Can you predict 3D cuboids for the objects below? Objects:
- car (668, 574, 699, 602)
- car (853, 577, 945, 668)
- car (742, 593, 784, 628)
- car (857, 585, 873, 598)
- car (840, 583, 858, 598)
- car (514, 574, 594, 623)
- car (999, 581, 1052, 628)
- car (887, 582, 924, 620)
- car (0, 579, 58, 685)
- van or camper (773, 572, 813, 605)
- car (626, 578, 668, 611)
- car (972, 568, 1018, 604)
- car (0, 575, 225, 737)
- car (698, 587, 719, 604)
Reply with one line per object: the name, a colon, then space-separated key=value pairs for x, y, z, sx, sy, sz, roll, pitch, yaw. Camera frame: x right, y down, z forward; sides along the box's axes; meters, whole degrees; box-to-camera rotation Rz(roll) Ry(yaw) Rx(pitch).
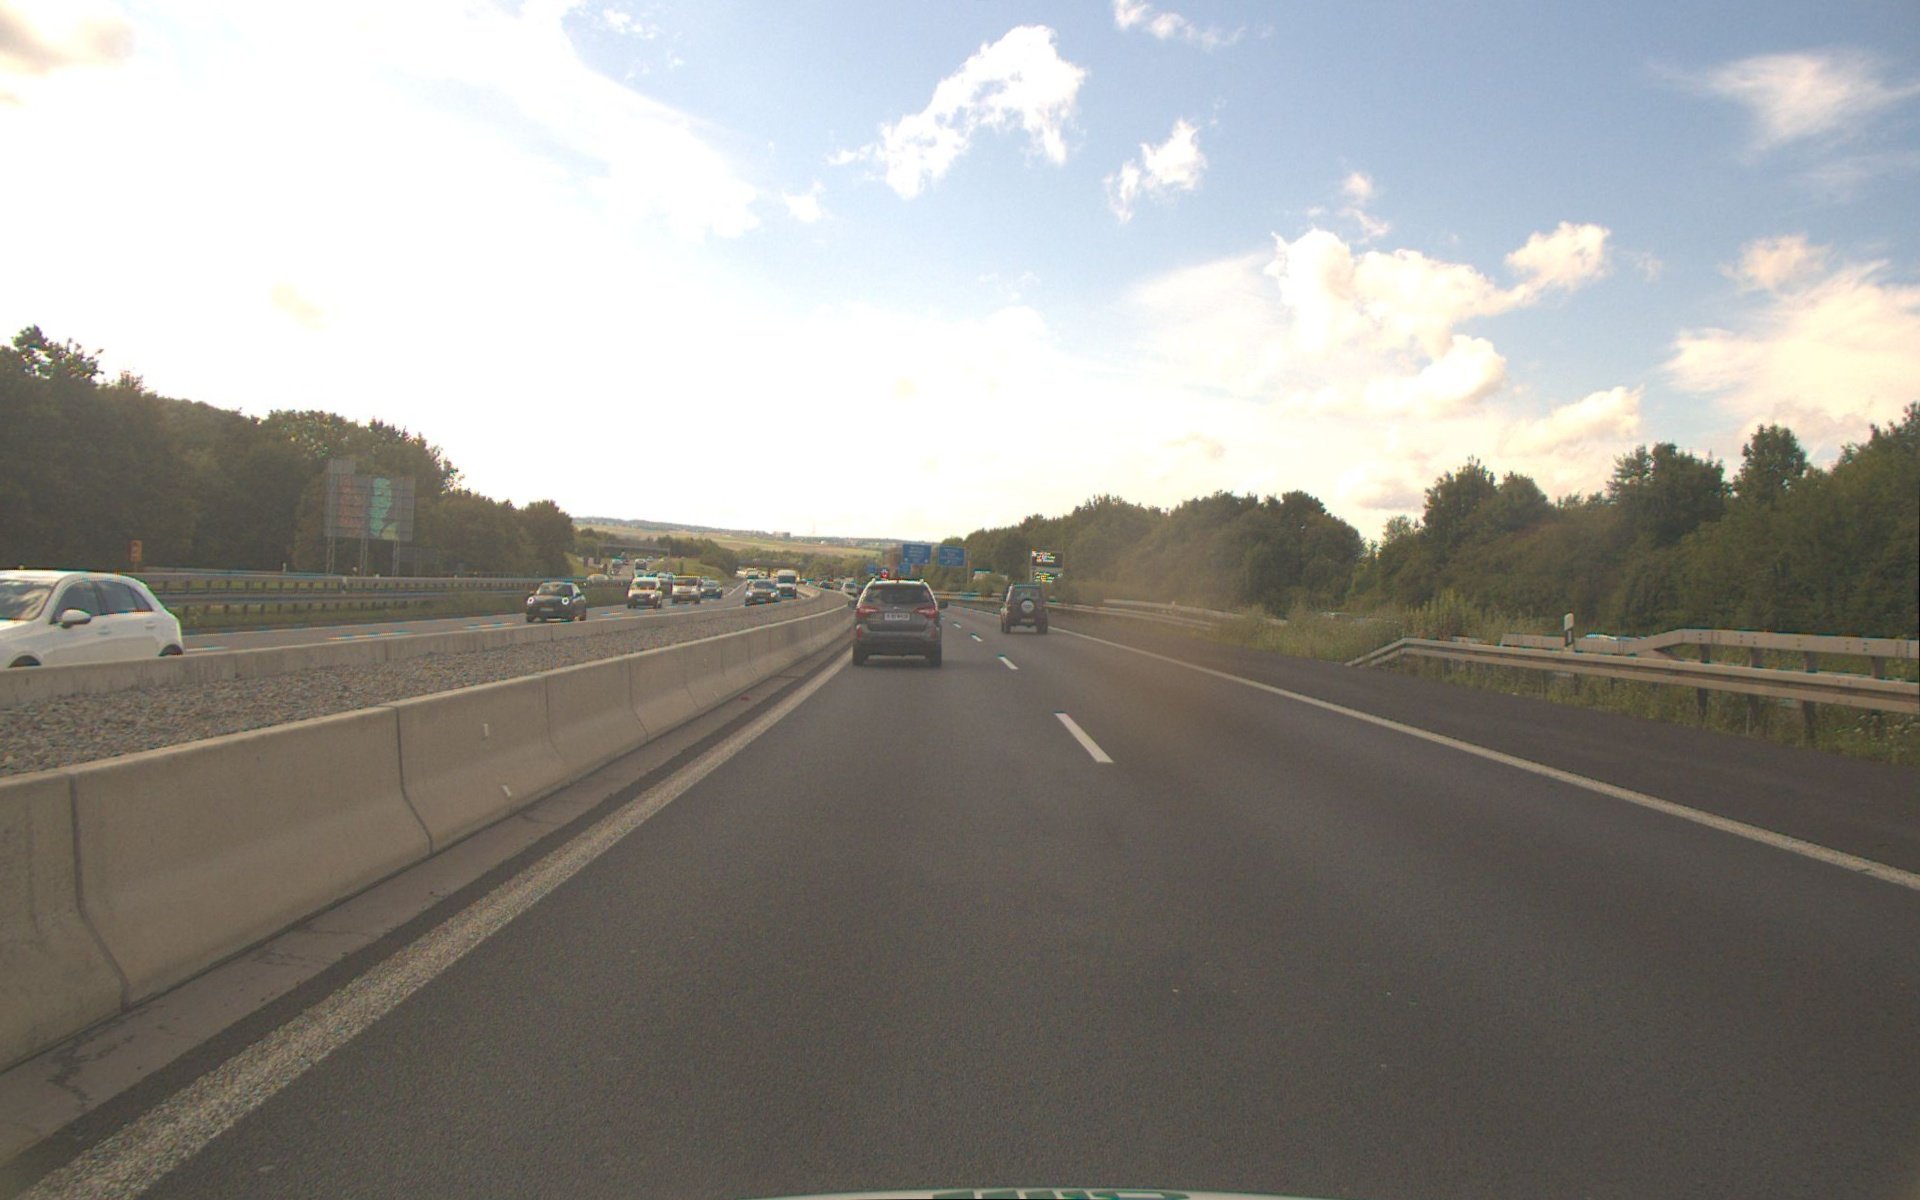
car: x=-19.937 y=-0.850 z=119.374 sx=1.877 sy=1.939 sz=5.280 roll=0 pitch=0 yaw=-6
car: x=-1.288 y=0.463 z=35.171 sx=1.781 sy=1.766 sz=5.184 roll=1 pitch=0 yaw=-2
car: x=-11.767 y=0.618 z=99.213 sx=1.953 sy=1.953 sz=5.147 roll=2 pitch=0 yaw=-1
car: x=-14.646 y=-1.297 z=254.805 sx=1.957 sy=1.963 sz=3.990 roll=2 pitch=-1 yaw=-10
car: x=-13.863 y=-1.229 z=206.378 sx=1.956 sy=1.713 sz=3.993 roll=1 pitch=-1 yaw=-8
car: x=-15.116 y=-0.053 z=61.766 sx=1.953 sy=1.721 sz=4.372 roll=1 pitch=0 yaw=-1
car: x=2.361 y=0.130 z=60.451 sx=1.555 sy=1.625 sz=4.093 roll=1 pitch=0 yaw=-3
car: x=-3.220 y=0.051 z=98.273 sx=1.989 sy=2.189 sz=4.000 roll=1 pitch=0 yaw=0
car: x=-13.271 y=0.396 z=20.552 sx=1.830 sy=1.361 sz=4.228 roll=1 pitch=0 yaw=-1
van or camper: x=-15.582 y=-1.058 z=155.022 sx=3.268 sy=2.967 sz=7.462 roll=1 pitch=0 yaw=-2
car: x=-18.473 y=-0.318 z=97.797 sx=1.954 sy=1.846 sz=4.237 roll=1 pitch=0 yaw=-4
car: x=4.572 y=-1.744 z=219.376 sx=4.637 sy=4.341 sz=11.389 roll=1 pitch=-1 yaw=-5
car: x=-9.076 y=0.445 z=15.412 sx=2.004 sy=1.361 sz=5.607 roll=1 pitch=0 yaw=-1
car: x=-22.485 y=-0.405 z=147.903 sx=1.752 sy=1.442 sz=4.986 roll=1 pitch=0 yaw=-9
